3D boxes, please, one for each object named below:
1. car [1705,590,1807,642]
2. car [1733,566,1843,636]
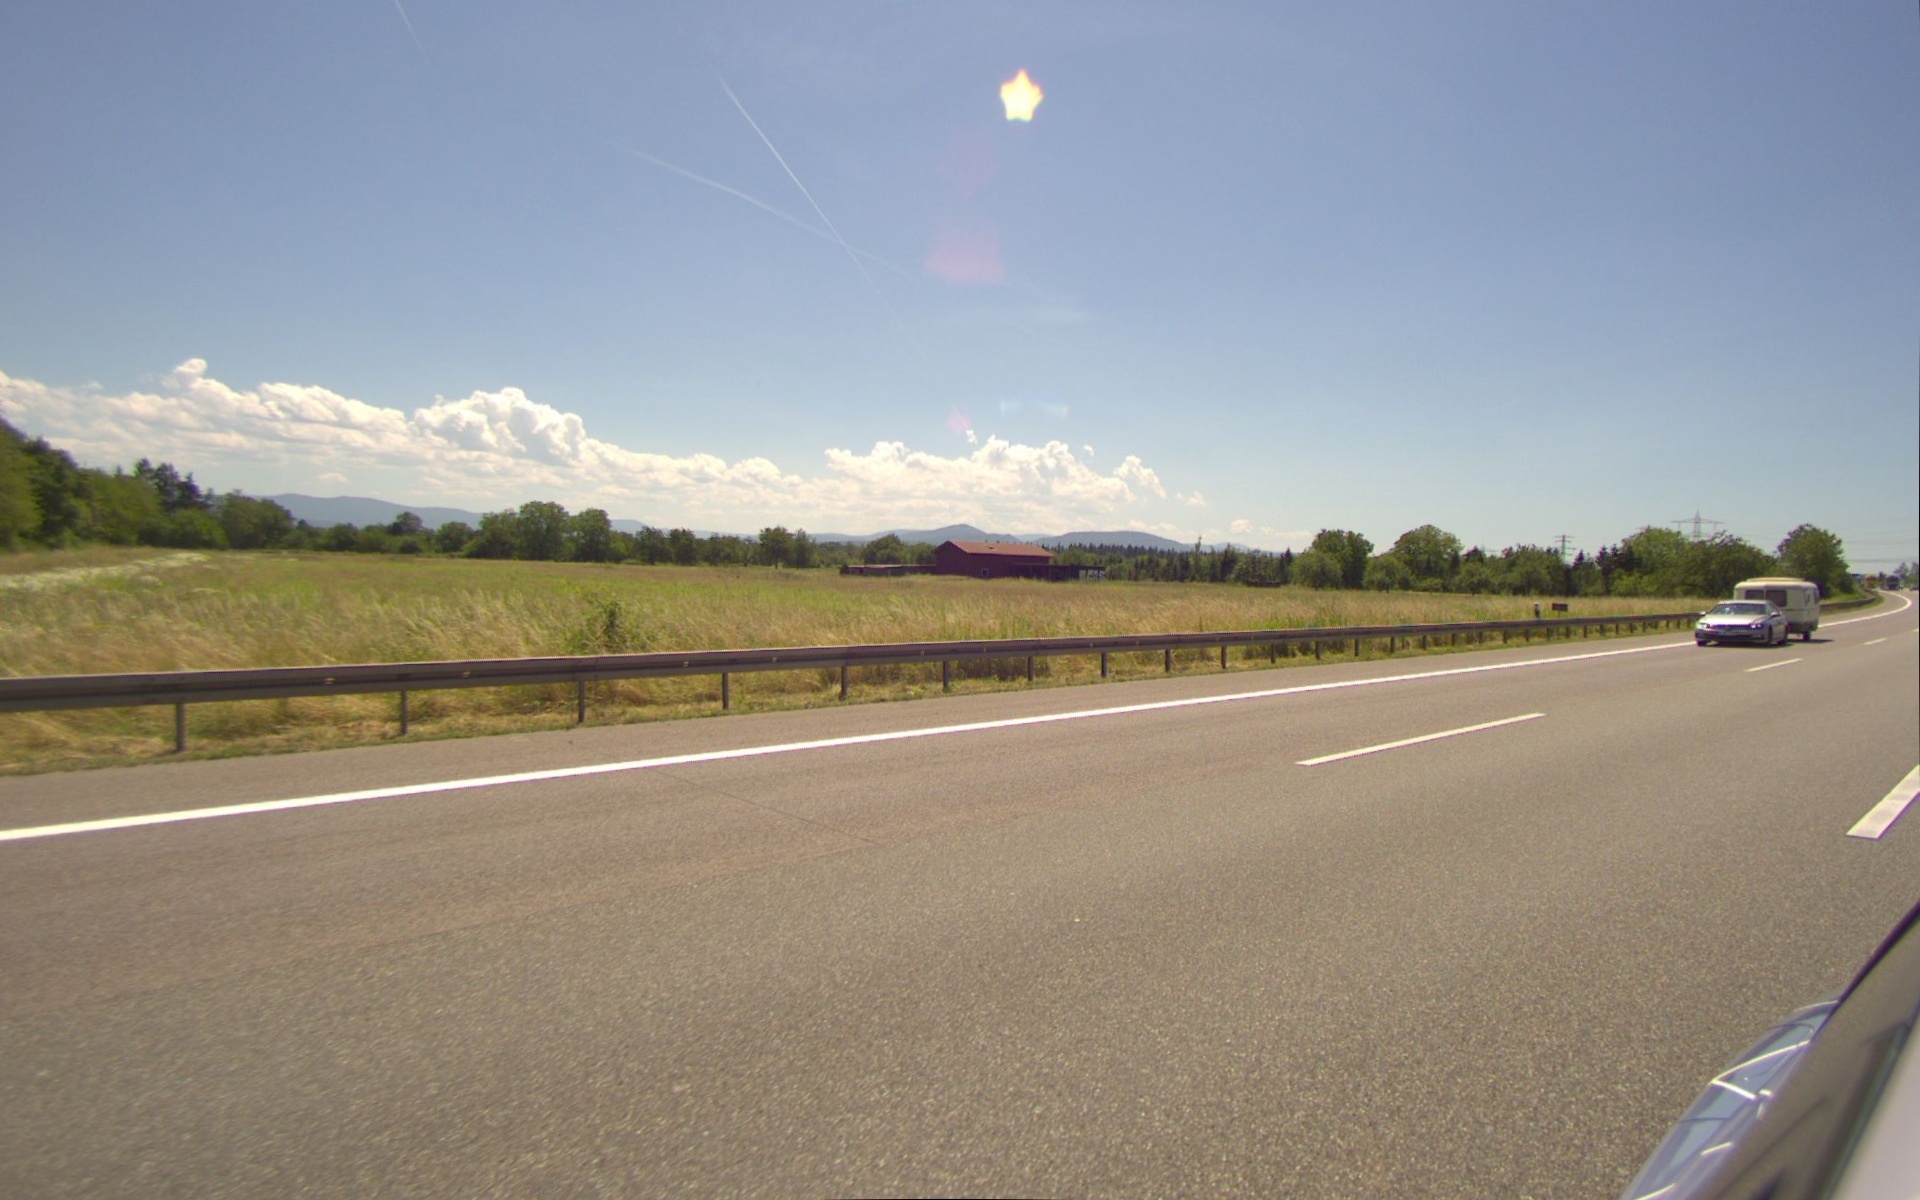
[{"bbox_3d":[24.862,0.442,31.579,3.930,1.494,1.783,0,2,-41],"label":"car"},{"bbox_3d":[29.441,-0.004,35.944,4.865,2.294,2.186,0,2,-41],"label":"car"}]
